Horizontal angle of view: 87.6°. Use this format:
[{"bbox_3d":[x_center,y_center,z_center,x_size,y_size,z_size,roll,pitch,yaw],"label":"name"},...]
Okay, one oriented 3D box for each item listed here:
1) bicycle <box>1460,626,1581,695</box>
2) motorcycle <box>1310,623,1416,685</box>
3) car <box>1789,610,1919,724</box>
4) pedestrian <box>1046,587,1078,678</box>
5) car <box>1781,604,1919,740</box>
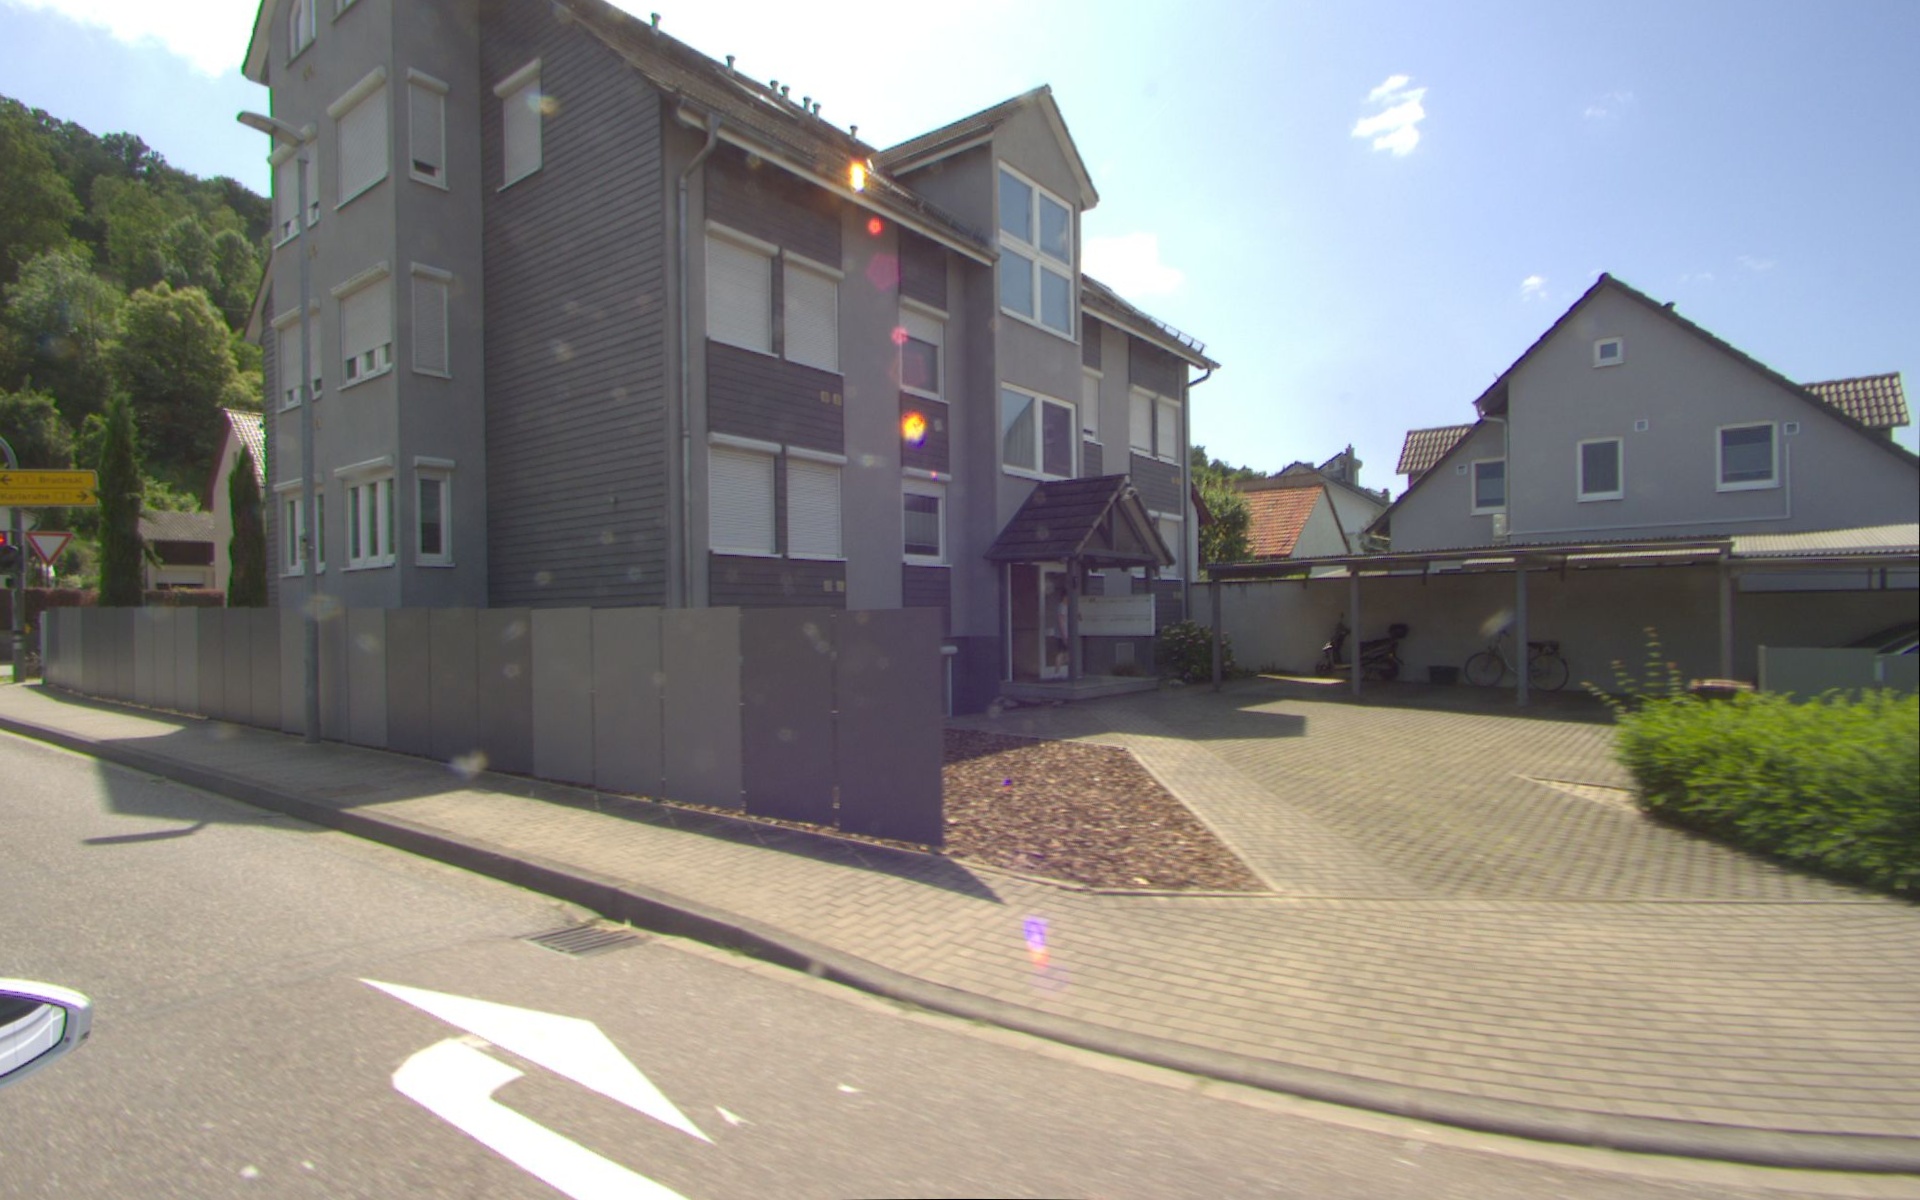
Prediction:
[{"bbox_3d":[10.712,1.136,19.177,1.927,1.188,0.645,2,1,38],"label":"bicycle"},{"bbox_3d":[8.419,1.097,20.966,1.927,1.179,0.645,2,1,38],"label":"motorcycle"},{"bbox_3d":[14.838,1.009,14.820,3.803,1.608,1.730,2,1,37],"label":"car"},{"bbox_3d":[1.766,0.563,17.421,0.474,1.549,0.535,0,0,-3],"label":"pedestrian"},{"bbox_3d":[13.178,0.940,12.678,4.160,1.671,1.730,2,1,37],"label":"car"}]
